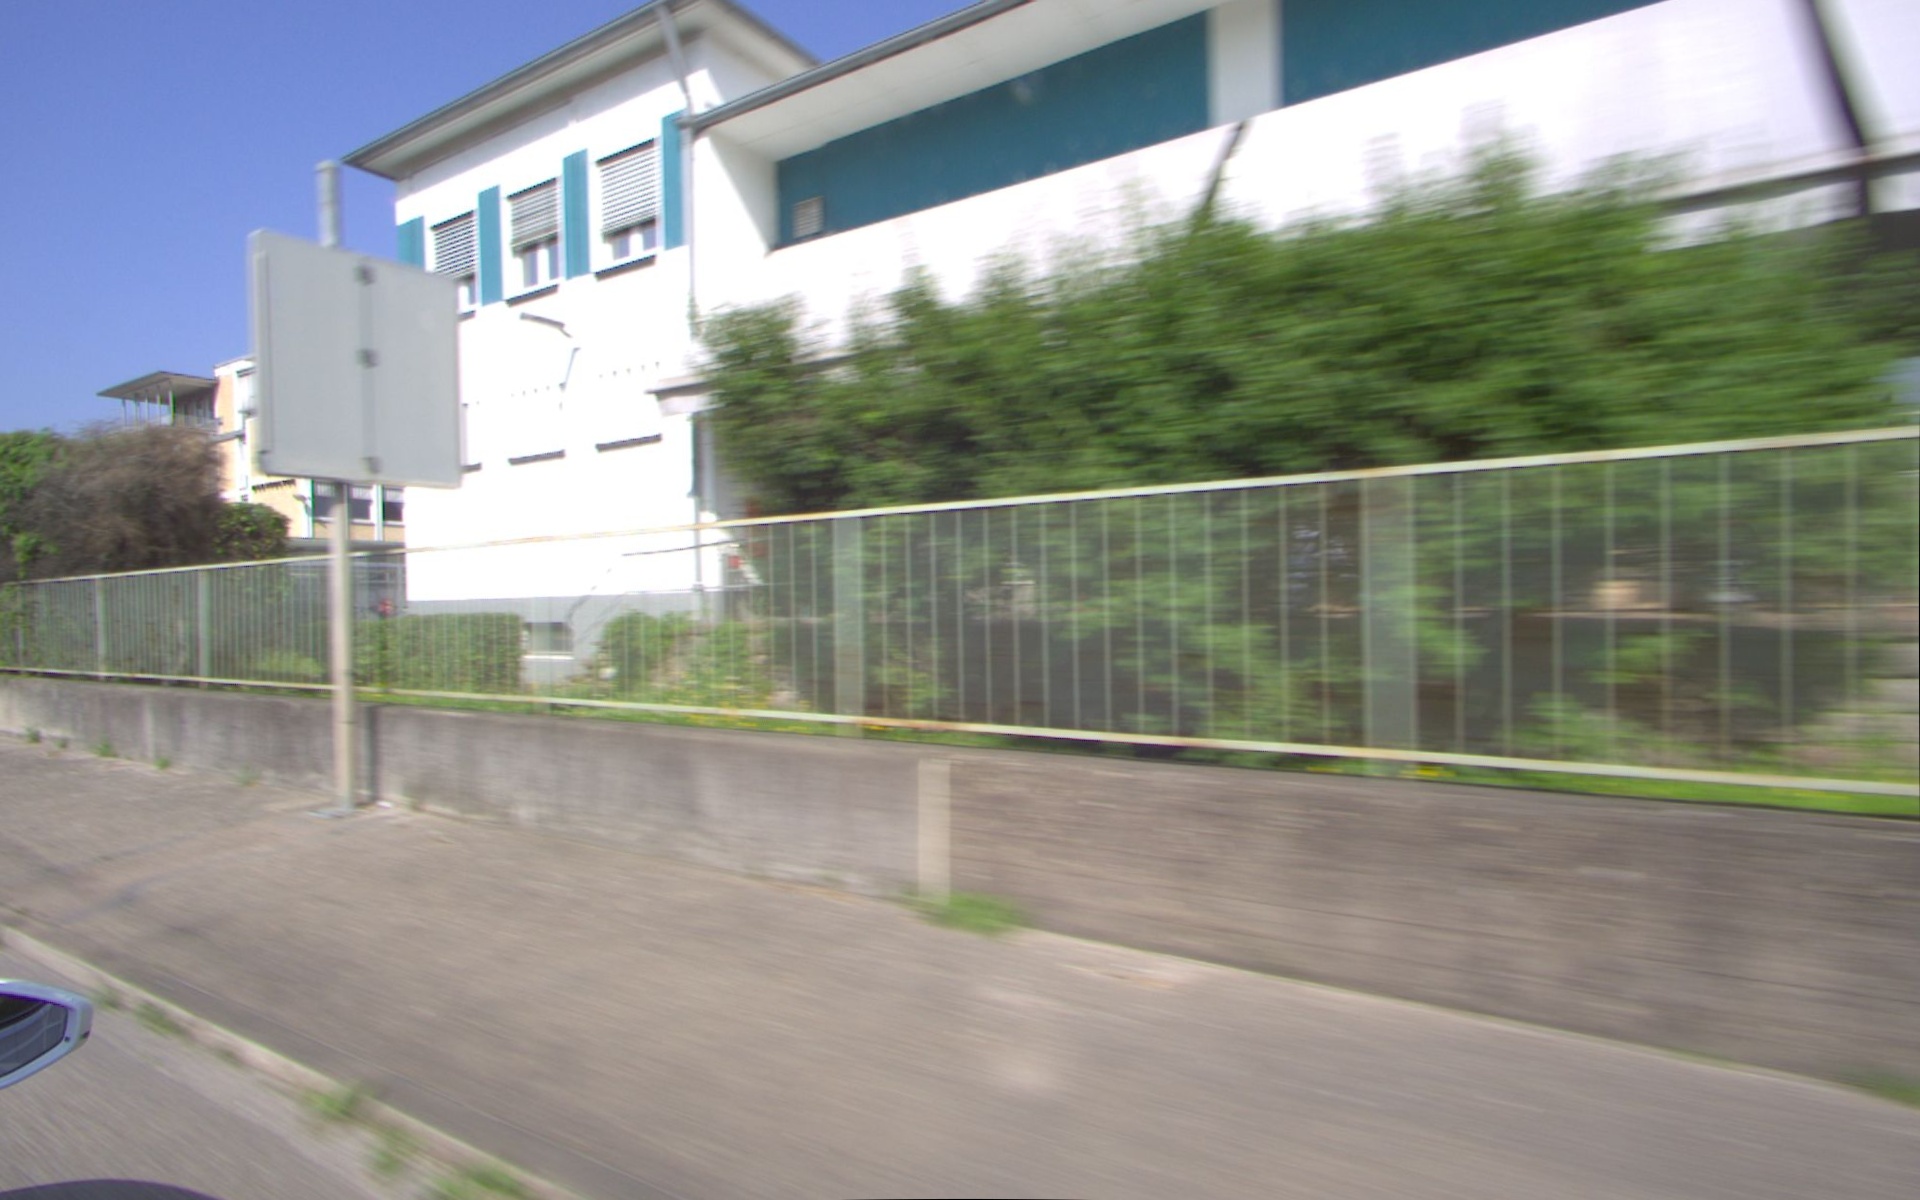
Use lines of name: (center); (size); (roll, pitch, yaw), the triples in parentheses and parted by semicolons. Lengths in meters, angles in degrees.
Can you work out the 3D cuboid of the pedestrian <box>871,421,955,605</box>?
pedestrian: (-0.542, -0.960, 11.615); (0.672, 2.040, 0.733); (0, 0, 33)
